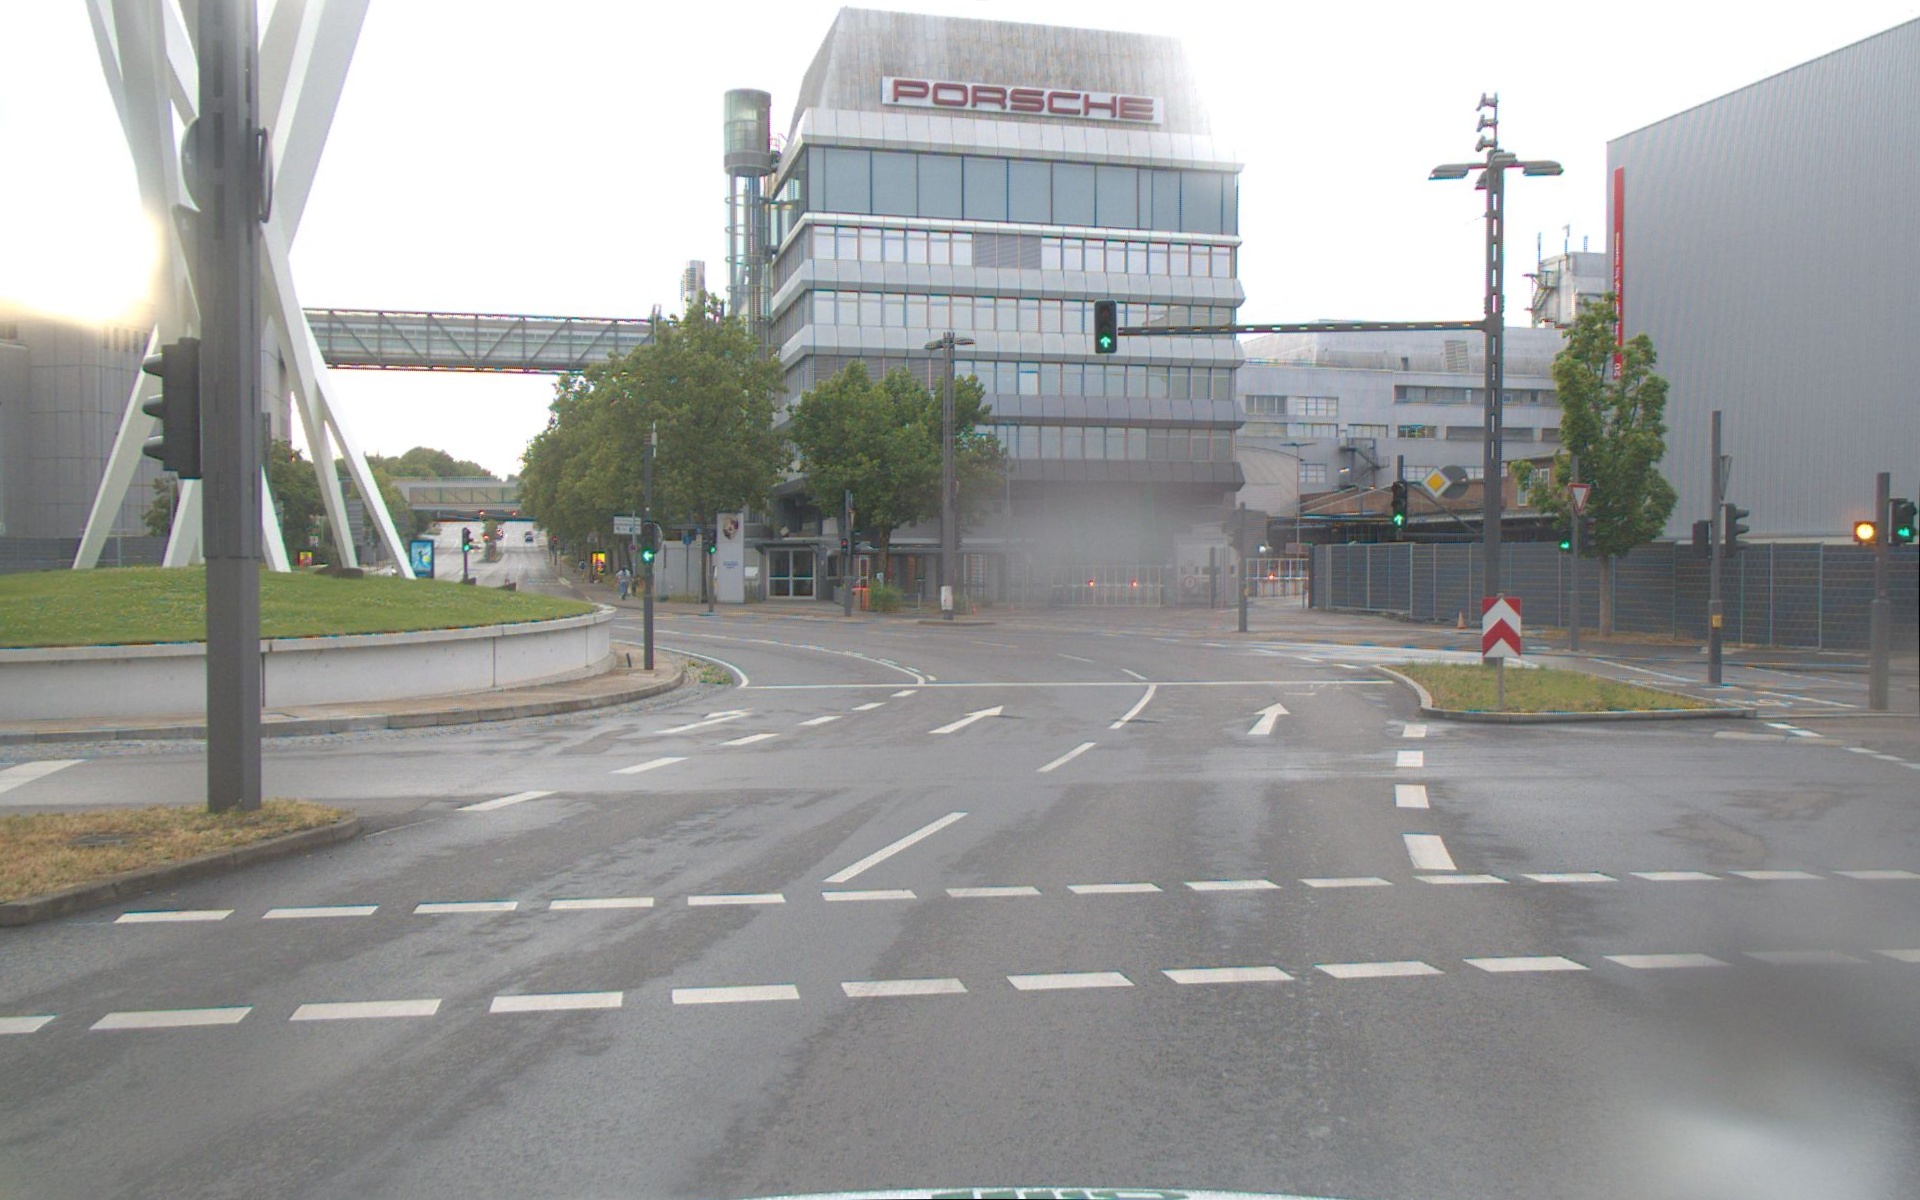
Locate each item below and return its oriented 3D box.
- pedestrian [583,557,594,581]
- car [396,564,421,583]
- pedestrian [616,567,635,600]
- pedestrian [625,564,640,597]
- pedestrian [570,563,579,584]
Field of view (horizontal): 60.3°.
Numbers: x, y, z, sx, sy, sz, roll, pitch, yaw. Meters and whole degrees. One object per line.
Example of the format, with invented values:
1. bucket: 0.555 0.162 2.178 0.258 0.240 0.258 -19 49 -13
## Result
1. pedestrian: -28.567 -2.372 127.180 0.700 1.770 0.757 1 -1 -15
2. car: -45.066 -2.169 135.264 1.754 1.465 4.376 -1 2 -17
3. pedestrian: -15.906 -0.785 78.601 0.815 1.547 0.840 -1 1 -8
4. pedestrian: -15.902 -0.947 80.354 0.696 1.619 0.838 -1 1 -11
5. pedestrian: -38.012 -2.614 163.035 0.749 2.049 0.692 0 0 2
